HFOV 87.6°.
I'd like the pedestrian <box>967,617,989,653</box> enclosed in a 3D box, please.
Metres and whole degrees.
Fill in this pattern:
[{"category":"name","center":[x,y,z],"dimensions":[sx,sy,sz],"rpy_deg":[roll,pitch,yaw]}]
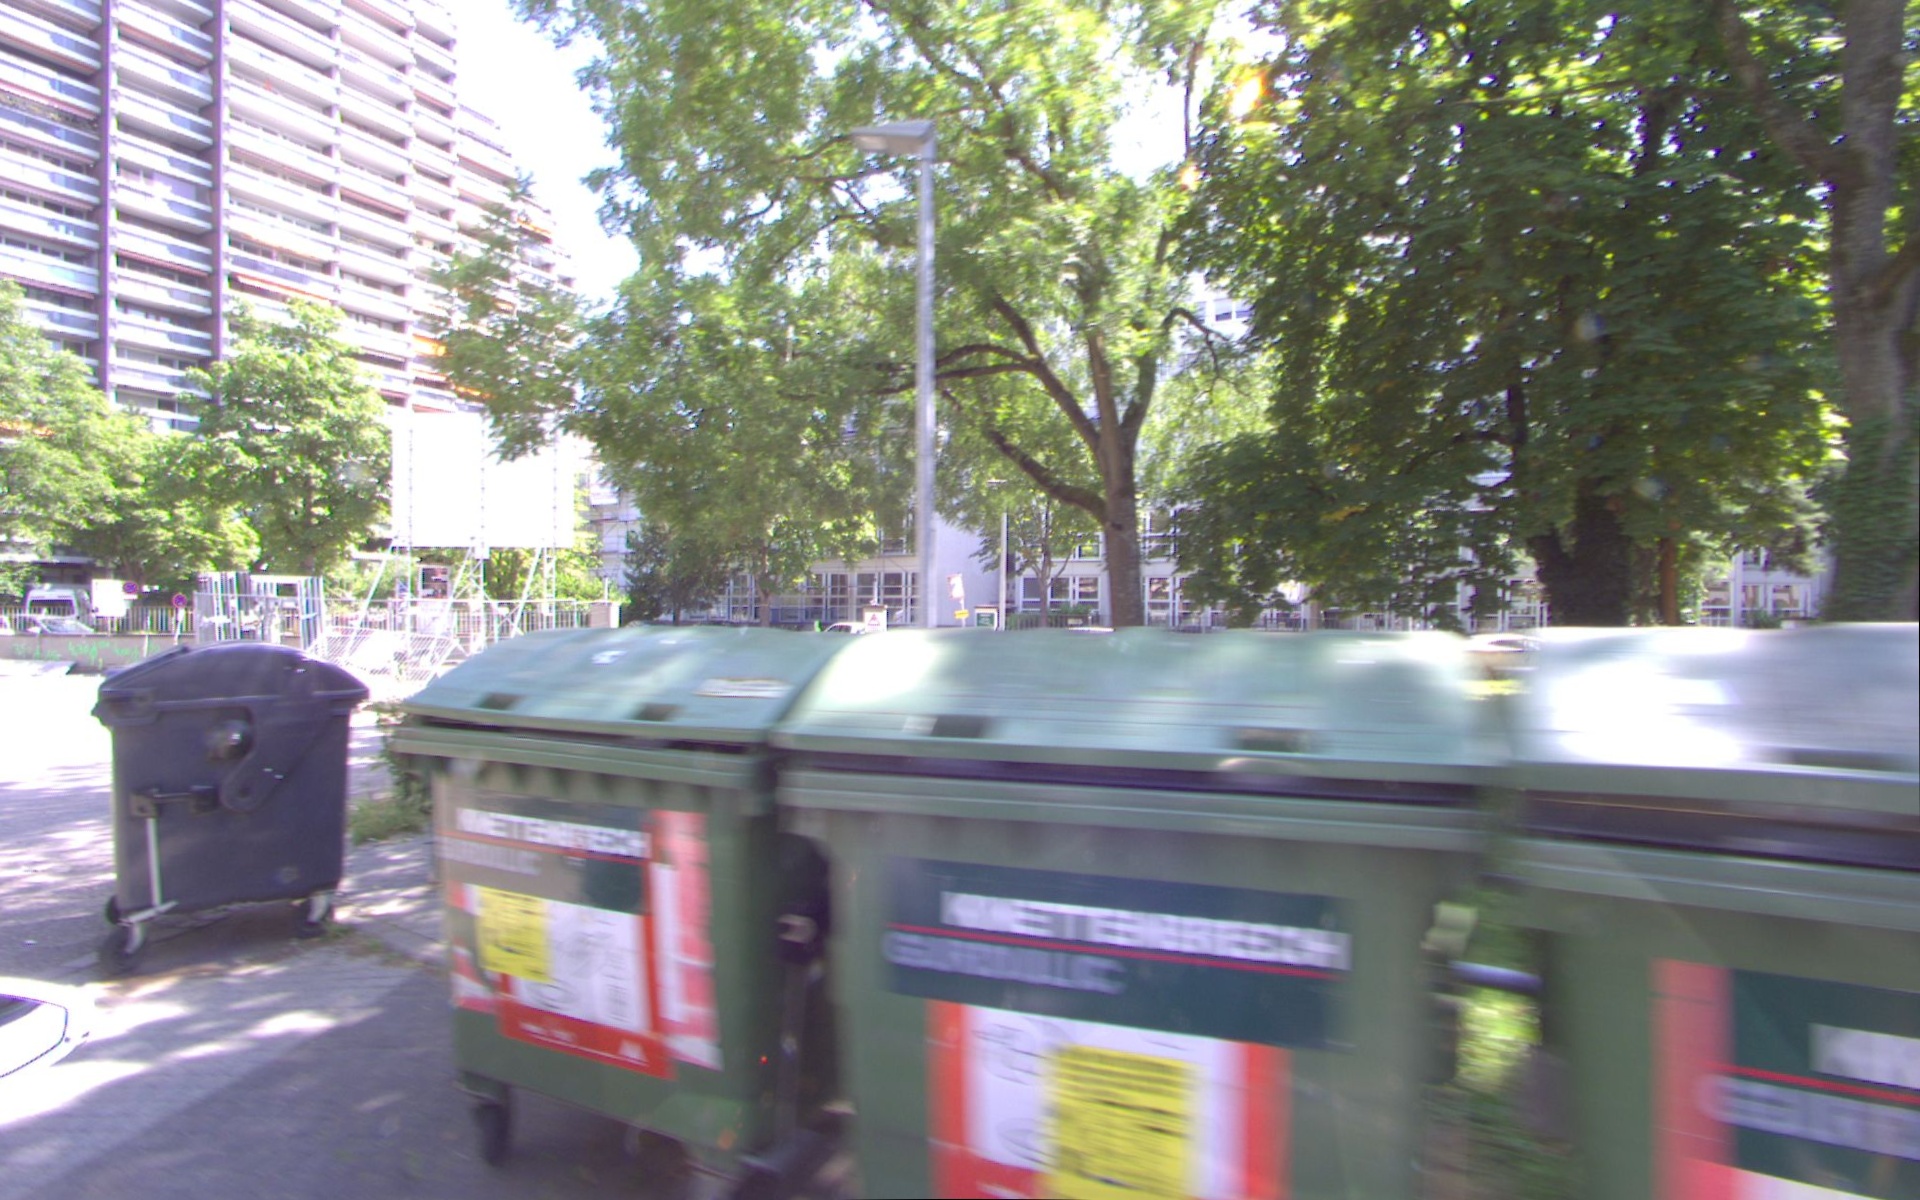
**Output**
[{"category":"pedestrian","center":[1.038,1.973,56.775],"dimensions":[0.864,2.040,0.992],"rpy_deg":[0,0,30]}]

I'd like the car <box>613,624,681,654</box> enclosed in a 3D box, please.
[{"category":"car","center":[-14.767,1.790,47.120],"dimensions":[1.898,1.327,3.901],"rpy_deg":[1,-1,-37]}]

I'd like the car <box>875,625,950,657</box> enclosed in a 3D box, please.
[{"category":"car","center":[-2.240,1.890,46.757],"dimensions":[1.651,1.433,3.680],"rpy_deg":[1,-1,-40]}]

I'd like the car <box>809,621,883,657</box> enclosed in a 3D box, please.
[{"category":"car","center":[-5.403,1.797,47.194],"dimensions":[1.653,1.610,3.657],"rpy_deg":[1,-1,-43]}]

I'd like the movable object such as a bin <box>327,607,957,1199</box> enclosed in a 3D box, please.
[{"category":"movable object such as a bin","center":[-0.864,0.768,2.815],"dimensions":[1.357,1.477,1.073],"rpy_deg":[0,-1,32]}]

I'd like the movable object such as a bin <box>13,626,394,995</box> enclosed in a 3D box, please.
[{"category":"movable object such as a bin","center":[-3.662,0.872,4.871],"dimensions":[1.357,1.477,1.073],"rpy_deg":[0,-1,32]}]

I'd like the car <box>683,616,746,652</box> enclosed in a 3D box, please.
[{"category":"car","center":[-11.634,1.581,47.373],"dimensions":[1.988,1.650,3.912],"rpy_deg":[1,-1,-28]}]

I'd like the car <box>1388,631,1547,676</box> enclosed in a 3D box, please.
[{"category":"car","center":[17.479,1.826,34.627],"dimensions":[4.595,1.456,1.674],"rpy_deg":[0,-1,2]}]

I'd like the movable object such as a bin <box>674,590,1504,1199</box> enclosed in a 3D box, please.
[{"category":"movable object such as a bin","center":[0.301,0.742,2.033],"dimensions":[1.357,1.477,1.073],"rpy_deg":[0,-1,32]}]

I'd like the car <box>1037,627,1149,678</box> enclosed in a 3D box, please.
[{"category":"car","center":[4.020,1.583,30.541],"dimensions":[3.267,1.498,1.433],"rpy_deg":[0,-1,2]}]

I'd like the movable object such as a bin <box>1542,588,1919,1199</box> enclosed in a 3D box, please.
[{"category":"movable object such as a bin","center":[1.594,0.734,1.368],"dimensions":[1.357,1.477,1.073],"rpy_deg":[0,-1,32]}]

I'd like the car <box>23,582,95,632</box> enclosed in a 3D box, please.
[{"category":"car","center":[-43.384,0.354,48.320],"dimensions":[2.165,2.287,4.833],"rpy_deg":[1,-1,-37]}]

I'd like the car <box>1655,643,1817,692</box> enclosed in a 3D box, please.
[{"category":"car","center":[22.963,1.973,29.714],"dimensions":[3.461,1.360,1.654],"rpy_deg":[0,-1,4]}]
